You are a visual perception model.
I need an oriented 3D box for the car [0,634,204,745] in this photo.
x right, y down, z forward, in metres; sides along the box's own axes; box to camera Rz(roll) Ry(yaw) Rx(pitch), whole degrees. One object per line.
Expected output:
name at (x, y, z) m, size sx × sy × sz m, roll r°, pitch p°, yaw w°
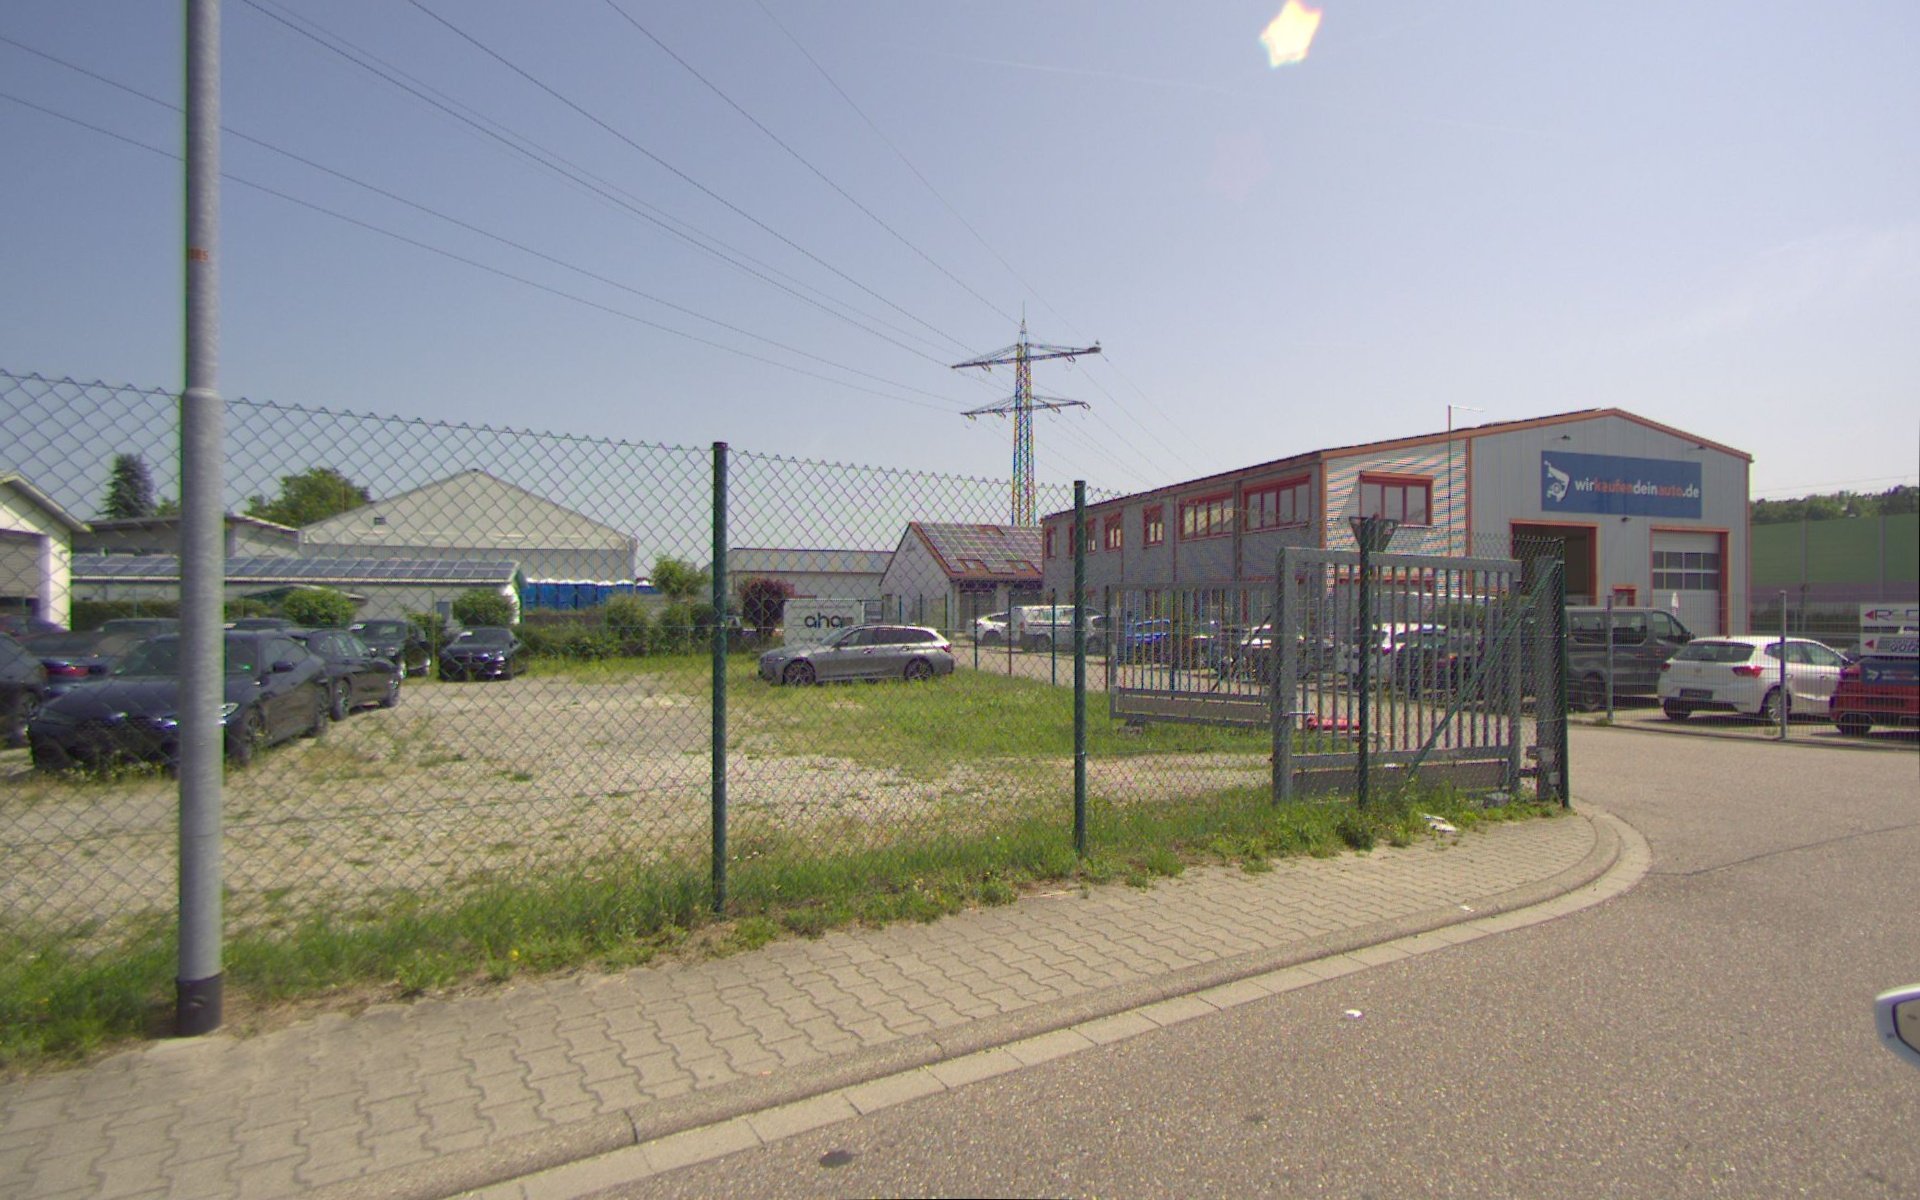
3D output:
car at (-13.693, 1.268, 15.438) m, size 1.967 × 1.439 × 3.987 m, roll 0°, pitch -1°, yaw -16°

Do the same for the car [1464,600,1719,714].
car at (12.488, 1.069, 19.915) m, size 4.447 × 2.057 × 1.949 m, roll 0°, pitch -1°, yaw -19°

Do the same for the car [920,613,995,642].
car at (-0.147, 1.519, 55.384) m, size 3.846 × 1.580 × 1.502 m, roll 0°, pitch -1°, yaw -19°

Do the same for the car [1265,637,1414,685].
car at (9.983, 1.574, 26.453) m, size 3.547 × 1.167 × 1.502 m, roll 0°, pitch -1°, yaw -19°

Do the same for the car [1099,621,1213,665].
car at (6.652, 1.425, 34.086) m, size 3.547 × 1.435 × 1.502 m, roll 0°, pitch -1°, yaw -19°

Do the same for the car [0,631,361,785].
car at (-8.983, 1.114, 12.157) m, size 1.970 × 1.454 × 4.647 m, roll 1°, pitch -2°, yaw -18°

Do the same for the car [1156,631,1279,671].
car at (8.092, 1.571, 31.587) m, size 3.547 × 1.167 × 1.502 m, roll 0°, pitch -1°, yaw -19°

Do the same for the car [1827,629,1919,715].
car at (18.139, 1.274, 18.579) m, size 3.834 × 1.473 × 1.482 m, roll 0°, pitch -1°, yaw -19°

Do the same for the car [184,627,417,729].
car at (-11.038, 1.222, 17.239) m, size 1.968 × 1.454 × 4.409 m, roll 1°, pitch -1°, yaw -14°

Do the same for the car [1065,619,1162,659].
car at (6.119, 1.532, 40.109) m, size 3.547 × 1.564 × 1.502 m, roll 0°, pitch -1°, yaw -19°

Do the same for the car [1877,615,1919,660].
car at (36.640, 1.381, 37.495) m, size 3.940 × 1.603 × 1.991 m, roll 0°, pitch -1°, yaw -21°

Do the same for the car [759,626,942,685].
car at (-2.541, 1.261, 23.432) m, size 4.078 × 1.277 × 1.230 m, roll 0°, pitch -1°, yaw -19°

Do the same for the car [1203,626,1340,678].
car at (8.823, 1.446, 28.495) m, size 3.547 × 1.399 × 1.502 m, roll 0°, pitch -1°, yaw -19°

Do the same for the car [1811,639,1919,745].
car at (14.916, 1.300, 14.789) m, size 4.049 × 1.405 × 1.868 m, roll 0°, pitch -1°, yaw -19°

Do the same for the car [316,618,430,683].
car at (-15.511, 1.298, 26.729) m, size 1.839 × 1.575 × 3.756 m, roll 1°, pitch -2°, yaw -18°

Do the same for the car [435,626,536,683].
car at (-13.211, 1.467, 28.221) m, size 1.970 × 1.454 × 4.647 m, roll 1°, pitch -2°, yaw -18°

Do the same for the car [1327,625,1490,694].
car at (10.846, 1.400, 24.297) m, size 3.547 × 1.560 × 1.502 m, roll 0°, pitch -1°, yaw -19°

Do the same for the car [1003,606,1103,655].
car at (3.910, 1.260, 42.344) m, size 3.846 × 2.005 × 1.816 m, roll 0°, pitch -1°, yaw -19°

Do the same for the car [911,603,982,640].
car at (-0.771, 1.225, 57.329) m, size 3.846 × 2.040 × 1.501 m, roll 0°, pitch -1°, yaw -19°

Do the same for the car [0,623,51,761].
car at (-11.544, 1.013, 10.334) m, size 1.839 × 1.575 × 3.756 m, roll 1°, pitch -2°, yaw -18°

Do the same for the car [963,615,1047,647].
car at (2.195, 1.519, 49.218) m, size 3.846 × 1.536 × 1.502 m, roll 0°, pitch -1°, yaw -19°

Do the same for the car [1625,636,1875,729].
car at (13.489, 1.344, 17.190) m, size 3.547 × 1.423 × 1.744 m, roll 0°, pitch -1°, yaw -19°

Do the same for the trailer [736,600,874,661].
trailer at (-5.065, 0.991, 33.253) m, size 4.376 × 1.971 × 1.713 m, roll 0°, pitch -1°, yaw -4°

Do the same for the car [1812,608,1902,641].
car at (45.808, 1.242, 51.301) m, size 3.936 × 1.679 × 1.698 m, roll 0°, pitch -1°, yaw -18°
